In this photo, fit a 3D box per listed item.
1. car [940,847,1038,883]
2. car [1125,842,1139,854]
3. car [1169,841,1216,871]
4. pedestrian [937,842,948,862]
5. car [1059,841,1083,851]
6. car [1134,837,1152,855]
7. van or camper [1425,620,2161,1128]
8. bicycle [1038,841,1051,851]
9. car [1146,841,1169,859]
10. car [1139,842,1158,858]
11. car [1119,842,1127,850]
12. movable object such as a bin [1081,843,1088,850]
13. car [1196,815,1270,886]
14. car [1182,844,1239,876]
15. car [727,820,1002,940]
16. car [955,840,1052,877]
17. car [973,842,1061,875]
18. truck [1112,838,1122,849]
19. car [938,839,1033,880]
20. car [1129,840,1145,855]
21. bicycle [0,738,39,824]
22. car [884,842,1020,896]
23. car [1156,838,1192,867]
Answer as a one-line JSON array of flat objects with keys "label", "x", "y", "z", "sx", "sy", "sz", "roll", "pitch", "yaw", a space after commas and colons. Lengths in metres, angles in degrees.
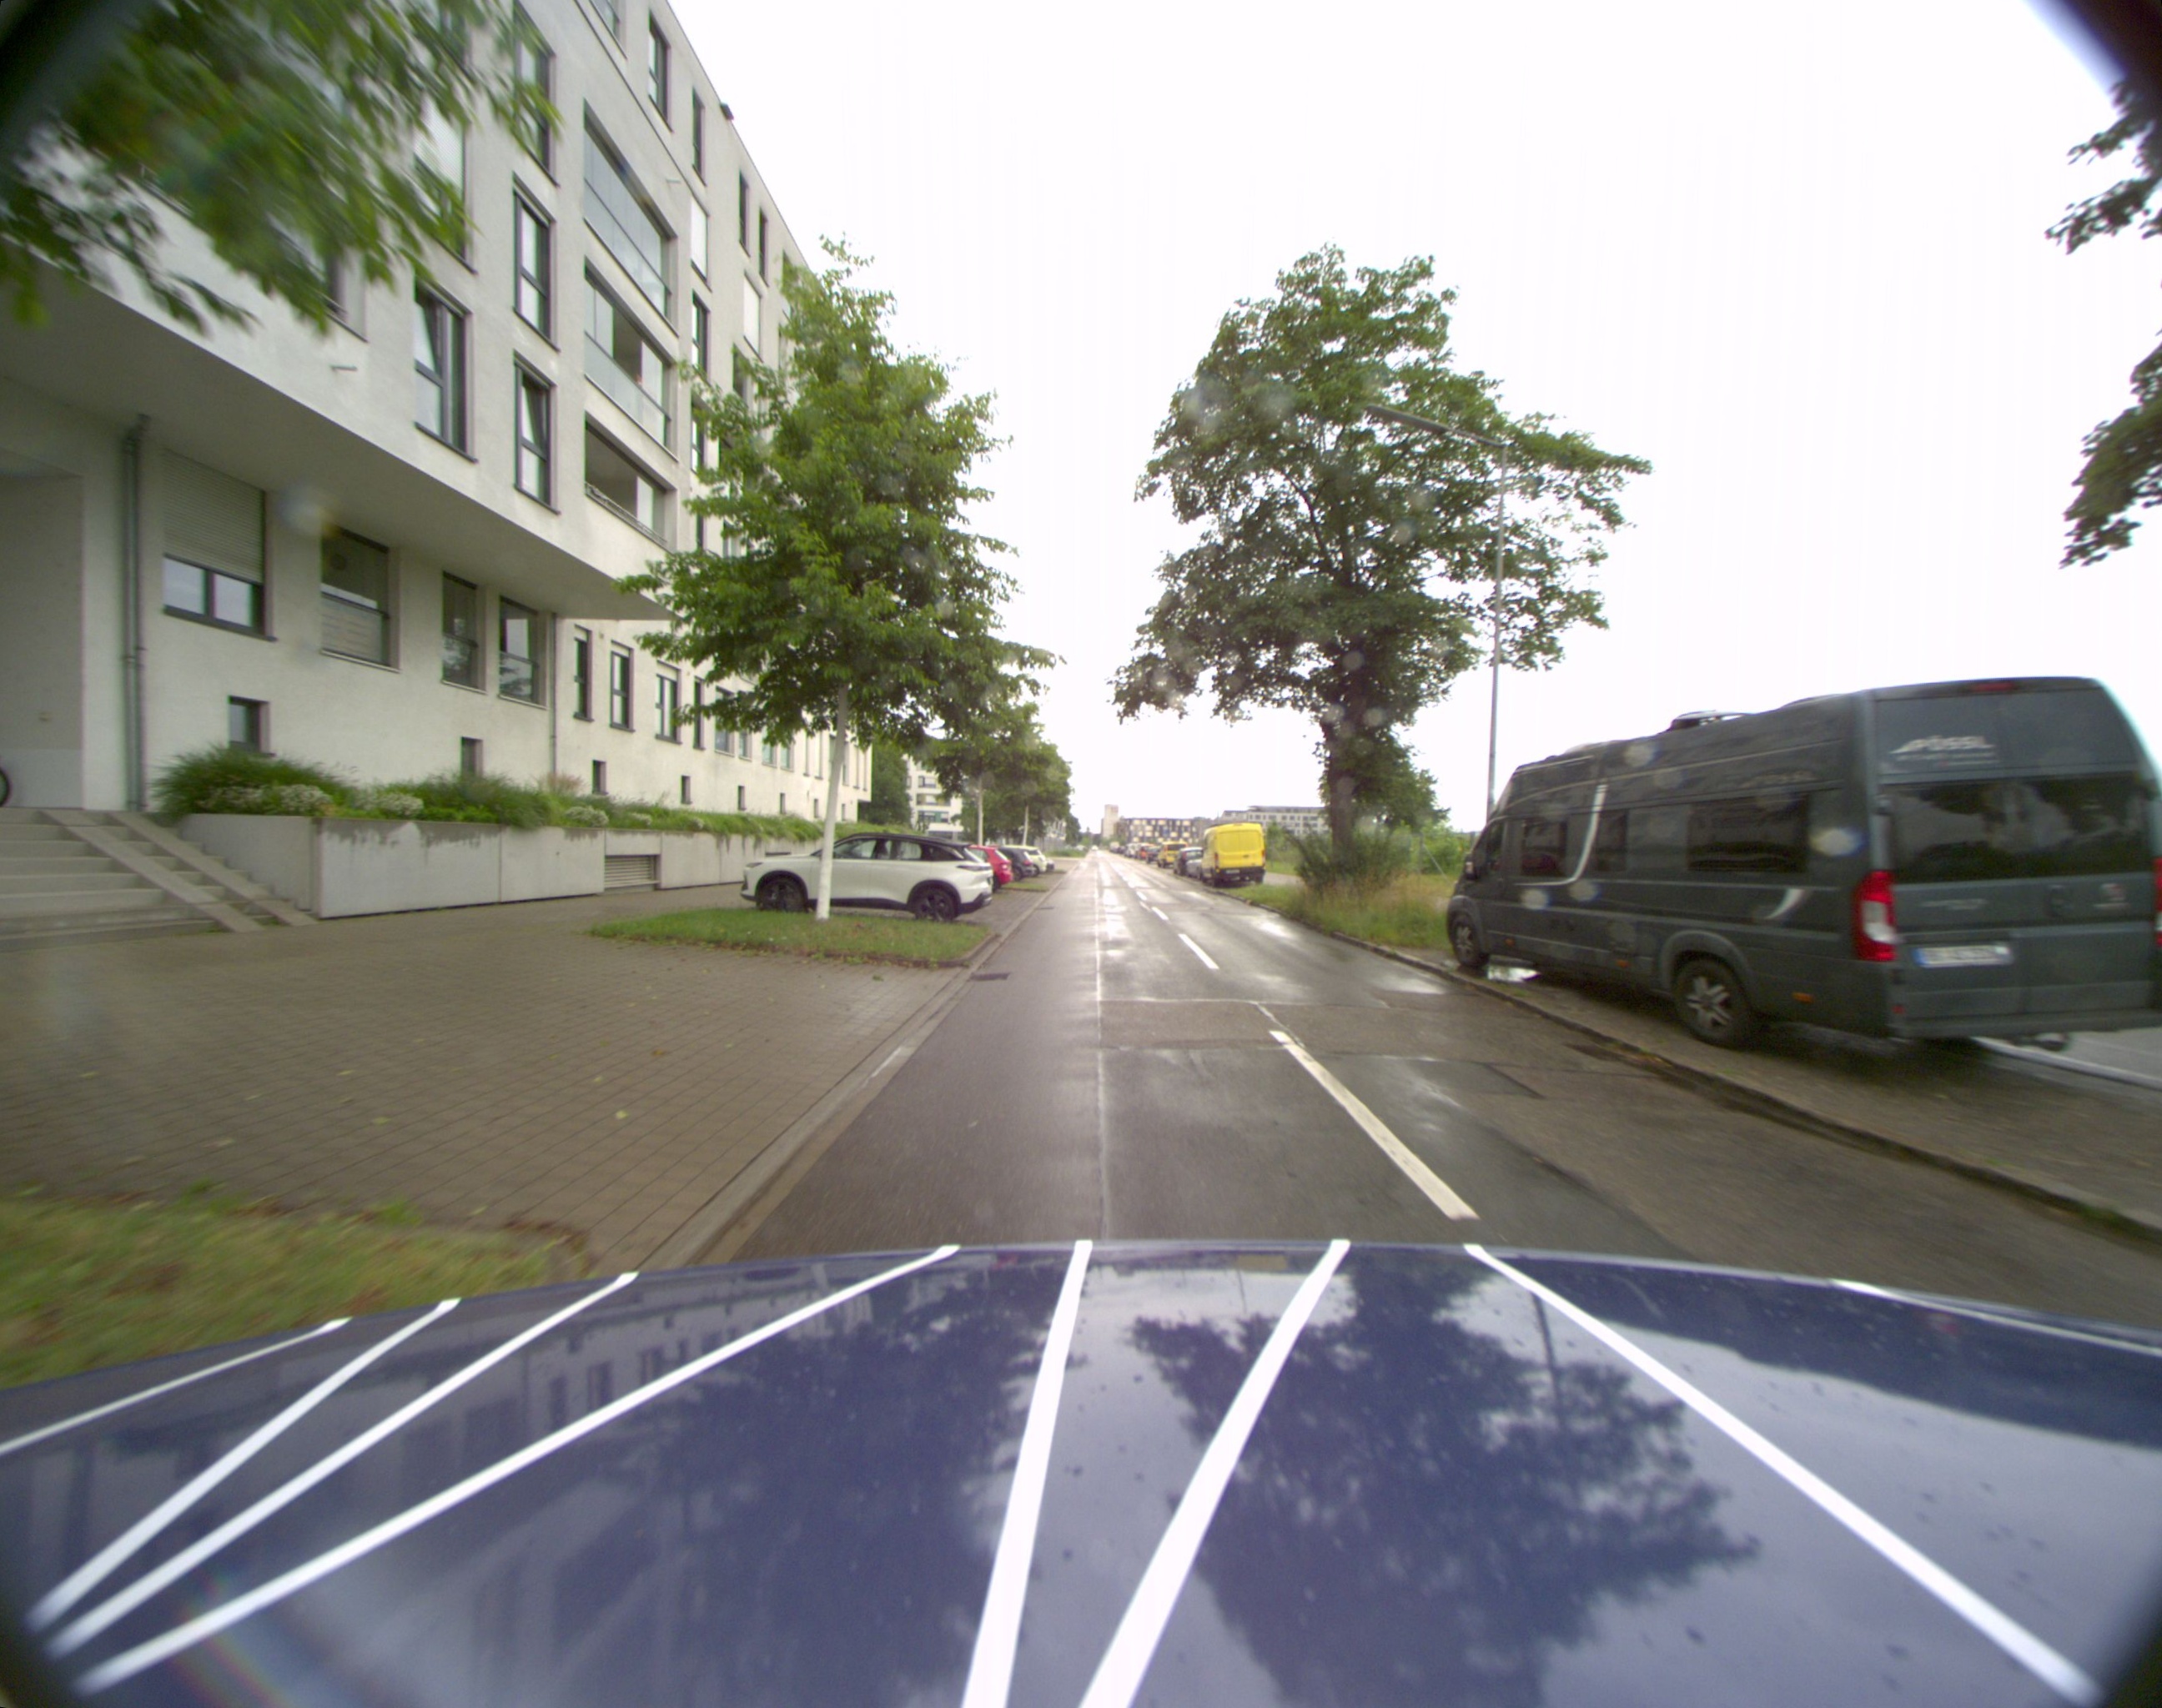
[{"label": "car", "x": -3.816, "y": 0.456, "z": 32.081, "sx": 3.967, "sy": 1.466, "sz": 1.591, "roll": 0, "pitch": 1, "yaw": -1}, {"label": "car", "x": 8.210, "y": -0.996, "z": 122.029, "sx": 1.960, "sy": 1.891, "sz": 4.994, "roll": 1, "pitch": 1, "yaw": 1}, {"label": "car", "x": 6.426, "y": 0.076, "z": 44.215, "sx": 1.998, "sy": 1.585, "sz": 5.016, "roll": -1, "pitch": 1, "yaw": 0}, {"label": "pedestrian", "x": -14.622, "y": -0.210, "z": 80.048, "sx": 0.967, "sy": 2.002, "sz": 0.622, "roll": 1, "pitch": 1, "yaw": 1}, {"label": "car", "x": -1.821, "y": -1.457, "z": 137.971, "sx": 4.099, "sy": 1.614, "sz": 1.966, "roll": 3, "pitch": 1, "yaw": 0}, {"label": "car", "x": 7.968, "y": -1.073, "z": 98.407, "sx": 1.947, "sy": 2.223, "sz": 5.557, "roll": 1, "pitch": 1, "yaw": 1}, {"label": "van or camper", "x": 6.068, "y": 0.050, "z": 7.872, "sx": 2.100, "sy": 3.077, "sz": 6.422, "roll": -1, "pitch": 2, "yaw": 0}, {"label": "bicycle", "x": -6.149, "y": -1.366, "z": 127.811, "sx": 2.189, "sy": 1.514, "sz": 0.631, "roll": 3, "pitch": 2, "yaw": 22}, {"label": "car", "x": 6.919, "y": -0.337, "z": 69.206, "sx": 1.808, "sy": 1.552, "sz": 4.032, "roll": -2, "pitch": 1, "yaw": 2}, {"label": "car", "x": 7.613, "y": -0.468, "z": 86.411, "sx": 1.944, "sy": 1.757, "sz": 4.331, "roll": 1, "pitch": 1, "yaw": 3}, {"label": "car", "x": 9.339, "y": -1.835, "z": 168.503, "sx": 1.756, "sy": 1.683, "sz": 4.881, "roll": 1, "pitch": 1, "yaw": 4}, {"label": "movable object such as a bin", "x": 0.734, "y": -1.807, "z": 174.676, "sx": 1.499, "sy": 1.485, "sz": 1.155, "roll": 4, "pitch": 1, "yaw": 1}, {"label": "car", "x": 6.390, "y": -0.189, "z": 32.600, "sx": 2.197, "sy": 2.679, "sz": 6.081, "roll": -1, "pitch": 1, "yaw": 3}, {"label": "car", "x": 6.519, "y": 0.265, "z": 38.882, "sx": 2.015, "sy": 1.426, "sz": 5.338, "roll": -2, "pitch": 1, "yaw": 1}, {"label": "car", "x": -3.933, "y": 0.444, "z": 14.423, "sx": 4.551, "sy": 1.676, "sz": 1.885, "roll": 6, "pitch": 1, "yaw": -2}, {"label": "car", "x": -3.749, "y": 0.198, "z": 37.306, "sx": 4.498, "sy": 1.473, "sz": 1.692, "roll": 4, "pitch": 1, "yaw": 1}, {"label": "car", "x": -3.454, "y": 0.249, "z": 41.712, "sx": 4.582, "sy": 1.488, "sz": 1.825, "roll": 4, "pitch": 1, "yaw": 0}, {"label": "truck", "x": 10.127, "y": -2.984, "z": 213.048, "sx": 2.441, "sy": 3.051, "sz": 6.699, "roll": 0, "pitch": 1, "yaw": 1}, {"label": "car", "x": -4.289, "y": 0.233, "z": 34.600, "sx": 3.996, "sy": 1.547, "sz": 1.634, "roll": 4, "pitch": 1, "yaw": 1}, {"label": "car", "x": 7.995, "y": -0.926, "z": 109.002, "sx": 1.964, "sy": 2.046, "sz": 5.274, "roll": 0, "pitch": 1, "yaw": 2}, {"label": "bicycle", "x": -14.109, "y": -0.890, "z": 9.218, "sx": 1.899, "sy": 1.049, "sz": 0.723, "roll": 0, "pitch": 2, "yaw": 0}, {"label": "car", "x": -4.104, "y": 0.459, "z": 24.618, "sx": 3.997, "sy": 1.443, "sz": 1.820, "roll": 3, "pitch": 2, "yaw": 0}, {"label": "car", "x": 6.867, "y": -0.166, "z": 56.505, "sx": 2.022, "sy": 1.945, "sz": 6.064, "roll": -1, "pitch": 1, "yaw": 1}]
